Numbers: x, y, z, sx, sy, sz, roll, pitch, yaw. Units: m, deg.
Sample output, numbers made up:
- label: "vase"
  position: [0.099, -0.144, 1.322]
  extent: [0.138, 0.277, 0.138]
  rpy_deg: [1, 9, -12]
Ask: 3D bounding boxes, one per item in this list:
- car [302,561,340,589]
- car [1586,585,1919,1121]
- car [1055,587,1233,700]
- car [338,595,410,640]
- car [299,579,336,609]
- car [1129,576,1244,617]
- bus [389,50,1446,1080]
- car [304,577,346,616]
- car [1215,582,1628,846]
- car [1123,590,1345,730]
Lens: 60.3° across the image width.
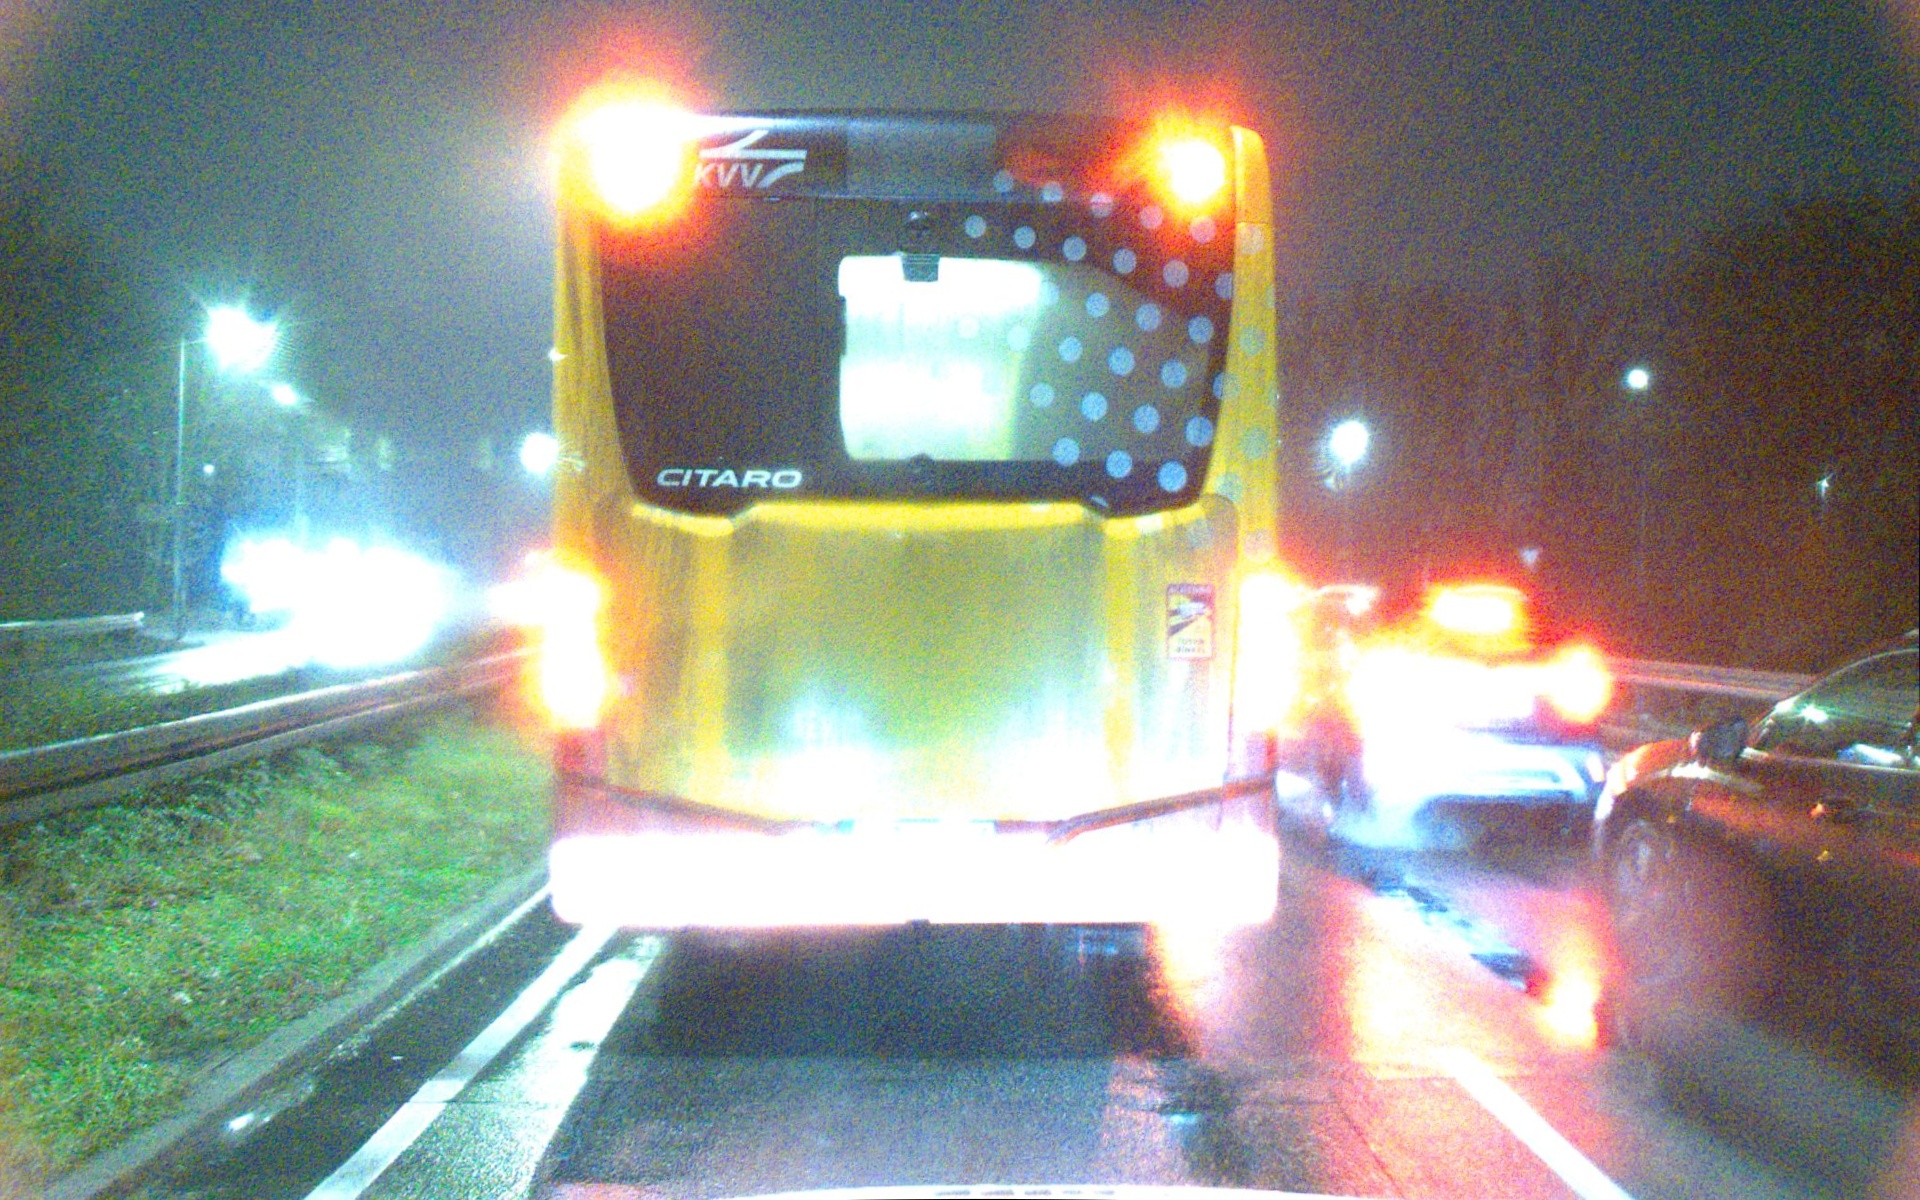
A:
- label: "car"
  position: [-33.158, -1.278, 85.765]
  extent: [1.605, 1.393, 3.694]
  rpy_deg: [1, 0, -25]
- label: "car"
  position: [3.575, 0.737, 4.907]
  extent: [1.639, 1.532, 4.559]
  rpy_deg: [1, 0, -1]
- label: "car"
  position: [2.559, 0.590, 23.915]
  extent: [1.953, 1.466, 3.998]
  rpy_deg: [1, 0, -3]
- label: "car"
  position: [-20.969, 0.623, 59.349]
  extent: [1.960, 1.534, 4.822]
  rpy_deg: [-1, 0, -14]
- label: "car"
  position: [-36.817, -0.359, 94.687]
  extent: [1.743, 1.659, 4.218]
  rpy_deg: [0, 1, -24]
- label: "car"
  position: [9.388, -0.150, 68.747]
  extent: [4.399, 1.545, 1.854]
  rpy_deg: [1, 2, -9]
- label: "bus"
  position: [-0.298, -0.236, 9.833]
  extent: [3.219, 3.103, 9.540]
  rpy_deg: [0, 2, -2]
- label: "car"
  position: [-30.410, -0.169, 79.121]
  extent: [1.734, 1.769, 3.972]
  rpy_deg: [1, 0, -23]
- label: "car"
  position: [3.058, 0.689, 11.825]
  extent: [1.644, 1.548, 3.957]
  rpy_deg: [1, 0, -3]
- label: "car"
  position: [2.871, 0.586, 18.122]
  extent: [1.652, 1.353, 3.959]
  rpy_deg: [0, 0, -2]
